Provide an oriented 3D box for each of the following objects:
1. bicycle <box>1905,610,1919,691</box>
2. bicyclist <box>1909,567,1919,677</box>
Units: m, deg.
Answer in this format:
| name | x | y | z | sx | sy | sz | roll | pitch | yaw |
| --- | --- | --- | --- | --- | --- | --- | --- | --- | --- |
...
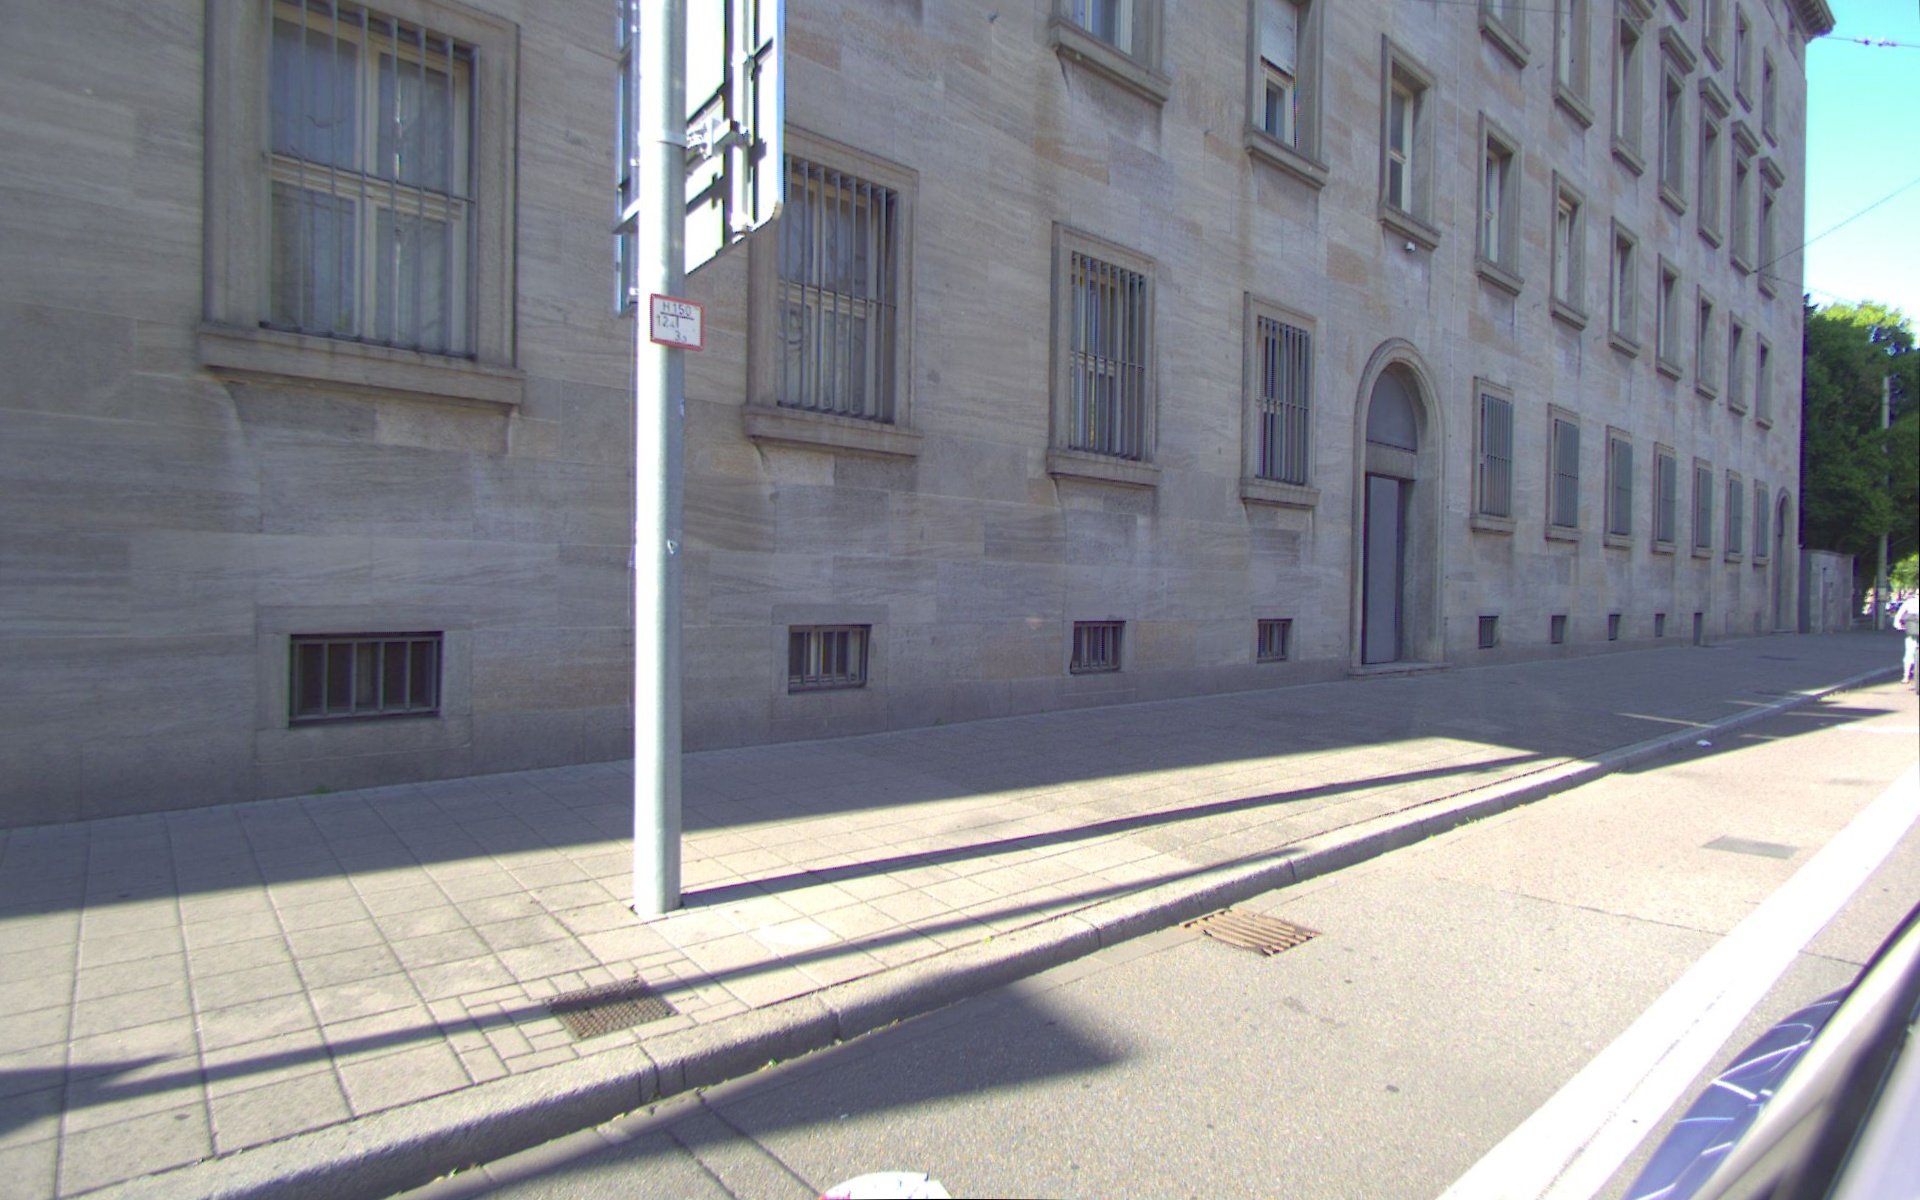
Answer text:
| name | x | y | z | sx | sy | sz | roll | pitch | yaw |
| --- | --- | --- | --- | --- | --- | --- | --- | --- | --- |
| bicycle | 15.661 | 0.792 | 16.170 | 1.630 | 1.236 | 0.624 | 0 | -1 | -41 |
| bicyclist | 15.698 | 0.346 | 16.216 | 0.676 | 1.761 | 0.624 | 0 | -1 | -41 |
